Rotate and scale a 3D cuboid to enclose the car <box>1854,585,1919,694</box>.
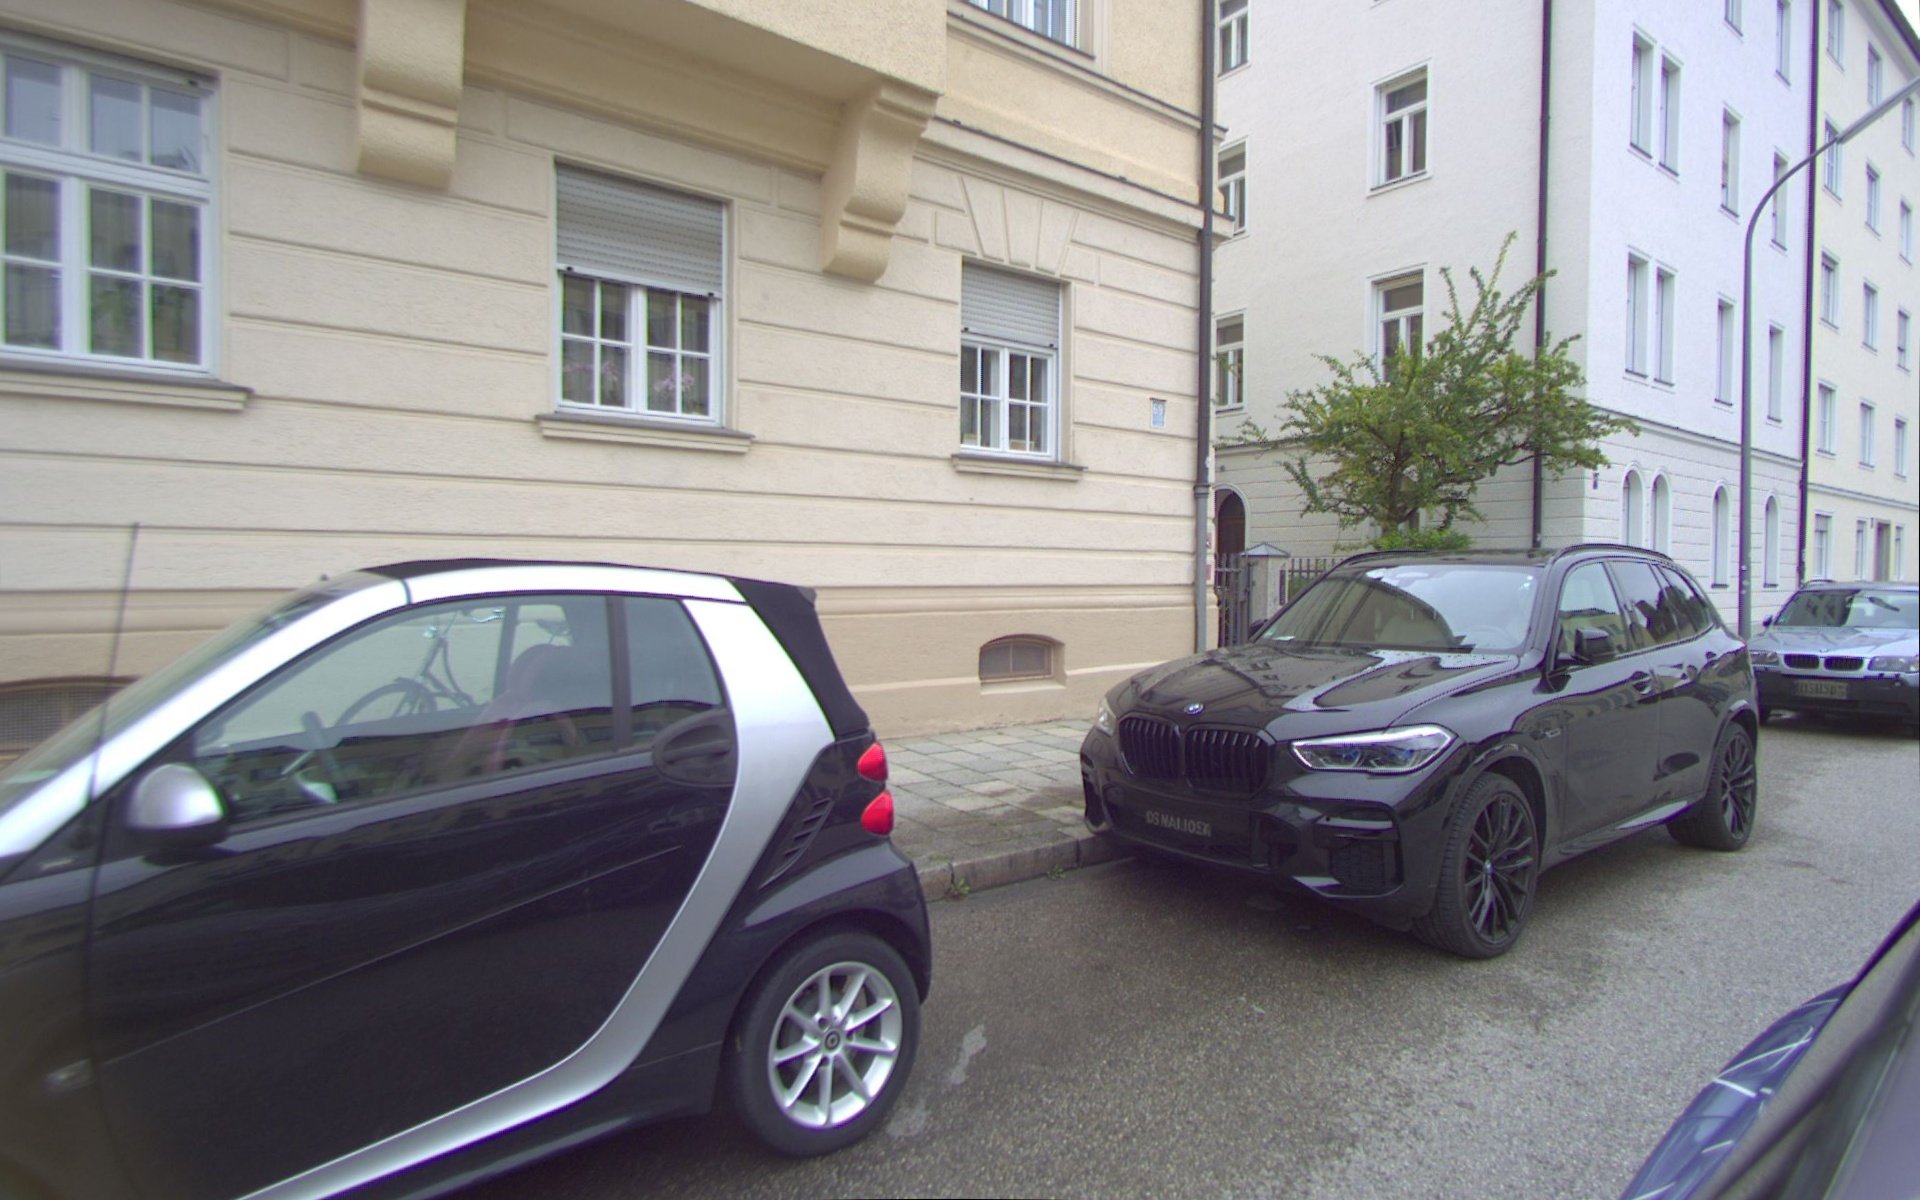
[{"bbox_3d":[14.770,0.528,14.886,4.012,1.445,1.684,-1,2,-38],"label":"car"}]

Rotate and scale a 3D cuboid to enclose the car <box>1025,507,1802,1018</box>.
[{"bbox_3d":[2.786,0.516,5.636,4.775,1.738,1.874,-1,0,-37],"label":"car"}]

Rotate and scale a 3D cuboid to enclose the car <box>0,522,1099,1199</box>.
[{"bbox_3d":[-1.256,0.625,2.878,3.052,1.543,1.540,-1,0,-36],"label":"car"}]

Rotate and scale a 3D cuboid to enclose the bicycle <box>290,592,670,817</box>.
[{"bbox_3d":[-2.734,0.523,5.893,1.917,1.096,0.581,0,4,-37],"label":"bicycle"}]

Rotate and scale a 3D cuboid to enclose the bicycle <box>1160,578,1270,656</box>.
[{"bbox_3d":[4.126,0.240,16.514,0.569,1.107,1.881,-1,4,-30],"label":"bicycle"}]

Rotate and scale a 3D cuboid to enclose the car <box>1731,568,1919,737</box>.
[{"bbox_3d":[10.722,0.468,11.751,4.376,1.654,1.727,-1,2,-38],"label":"car"}]
